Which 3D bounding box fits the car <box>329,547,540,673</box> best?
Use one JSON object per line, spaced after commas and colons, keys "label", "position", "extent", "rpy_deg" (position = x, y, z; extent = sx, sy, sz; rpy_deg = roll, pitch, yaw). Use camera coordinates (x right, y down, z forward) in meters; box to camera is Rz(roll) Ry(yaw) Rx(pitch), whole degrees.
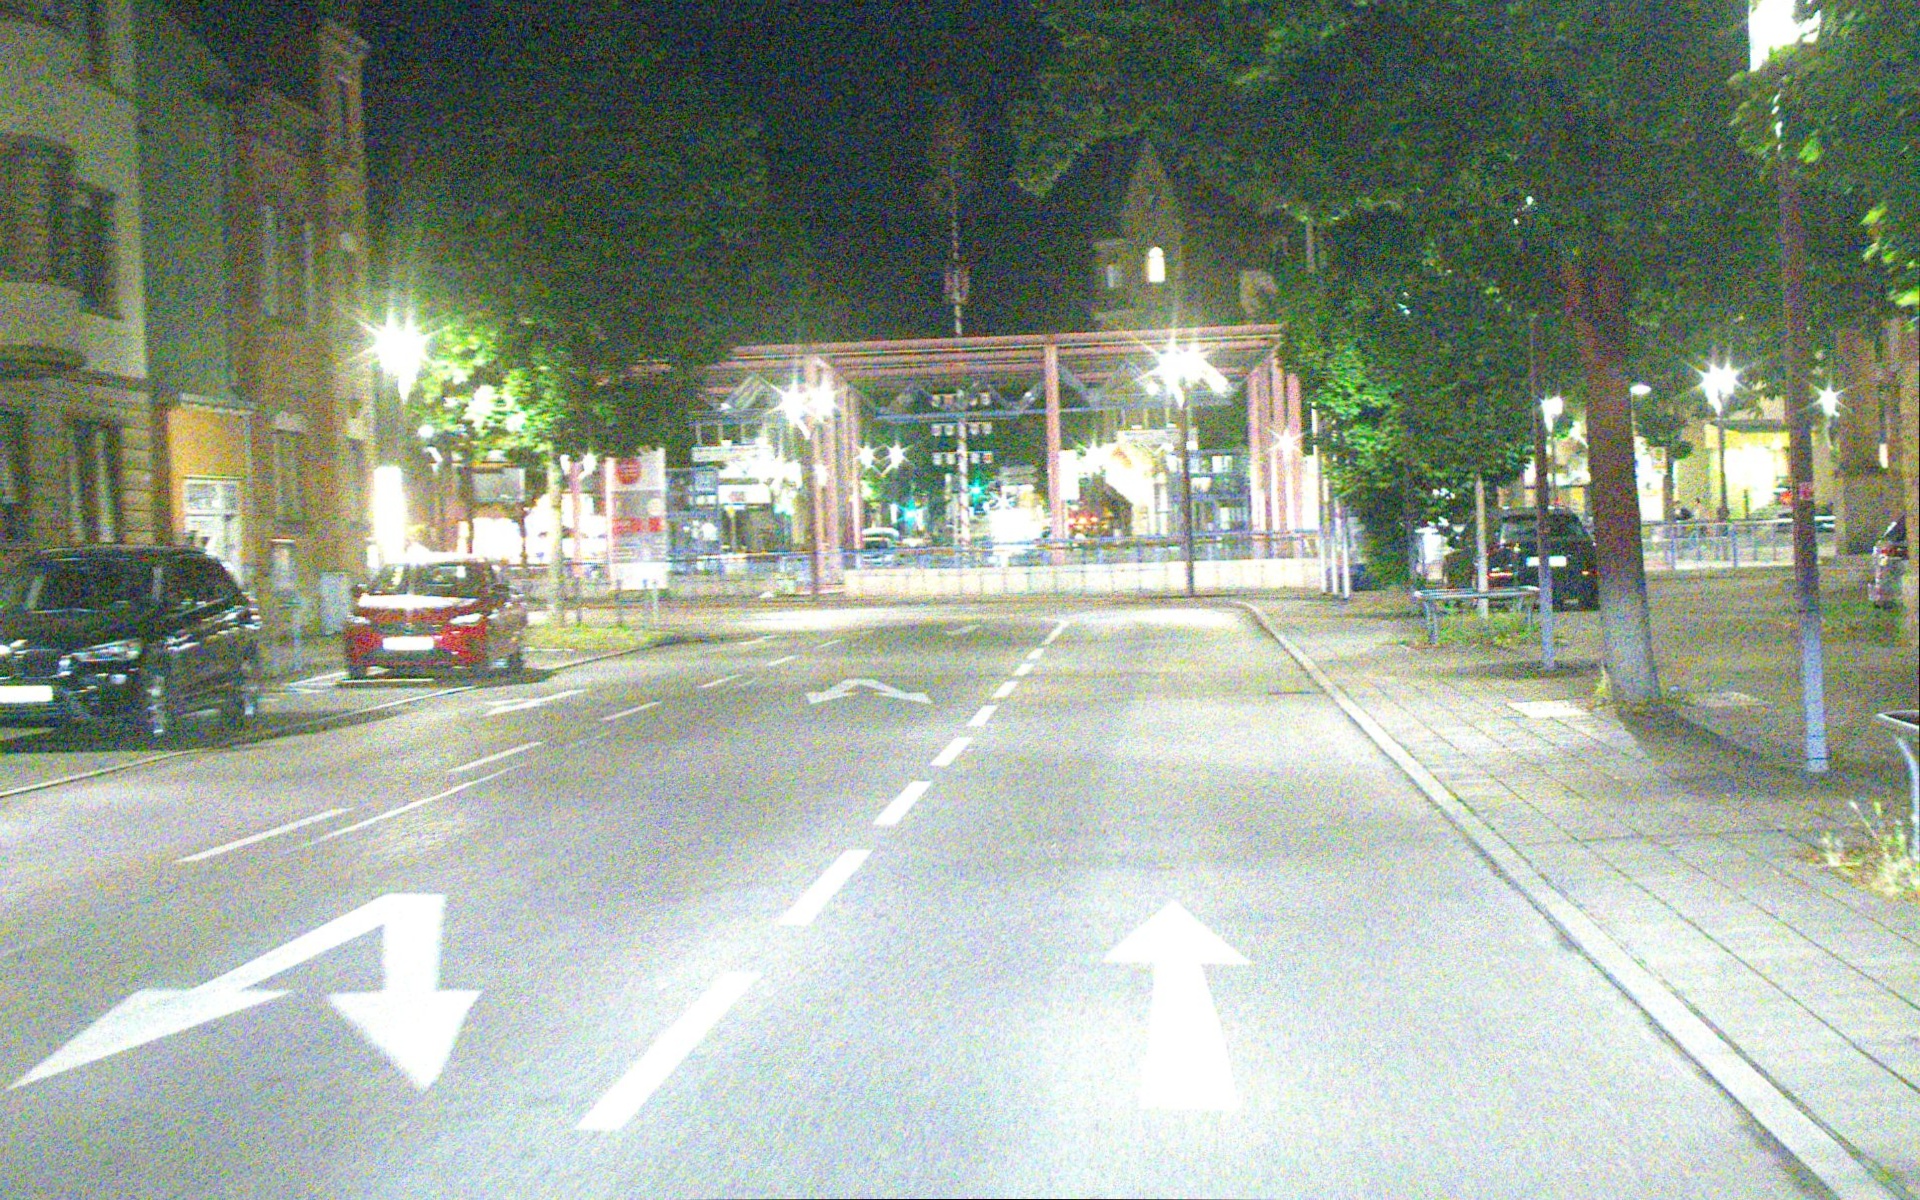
{"label": "car", "position": [-6.276, 0.080, 41.467], "extent": [1.784, 1.411, 4.126], "rpy_deg": [0, 1, 2]}

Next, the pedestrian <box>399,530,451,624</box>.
{"label": "pedestrian", "position": [-10.451, -0.445, 67.142], "extent": [0.724, 1.815, 0.692], "rpy_deg": [0, 0, -43]}

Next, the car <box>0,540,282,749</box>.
{"label": "car", "position": [-7.210, 0.306, 28.967], "extent": [1.785, 1.576, 4.411], "rpy_deg": [1, 1, 5]}

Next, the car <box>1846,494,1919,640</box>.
{"label": "car", "position": [11.624, -0.430, 35.831], "extent": [4.428, 1.454, 1.789], "rpy_deg": [-2, 2, 9]}

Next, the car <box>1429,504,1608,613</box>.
{"label": "car", "position": [7.940, -0.604, 49.258], "extent": [1.733, 1.454, 4.728], "rpy_deg": [-1, 1, -1]}
